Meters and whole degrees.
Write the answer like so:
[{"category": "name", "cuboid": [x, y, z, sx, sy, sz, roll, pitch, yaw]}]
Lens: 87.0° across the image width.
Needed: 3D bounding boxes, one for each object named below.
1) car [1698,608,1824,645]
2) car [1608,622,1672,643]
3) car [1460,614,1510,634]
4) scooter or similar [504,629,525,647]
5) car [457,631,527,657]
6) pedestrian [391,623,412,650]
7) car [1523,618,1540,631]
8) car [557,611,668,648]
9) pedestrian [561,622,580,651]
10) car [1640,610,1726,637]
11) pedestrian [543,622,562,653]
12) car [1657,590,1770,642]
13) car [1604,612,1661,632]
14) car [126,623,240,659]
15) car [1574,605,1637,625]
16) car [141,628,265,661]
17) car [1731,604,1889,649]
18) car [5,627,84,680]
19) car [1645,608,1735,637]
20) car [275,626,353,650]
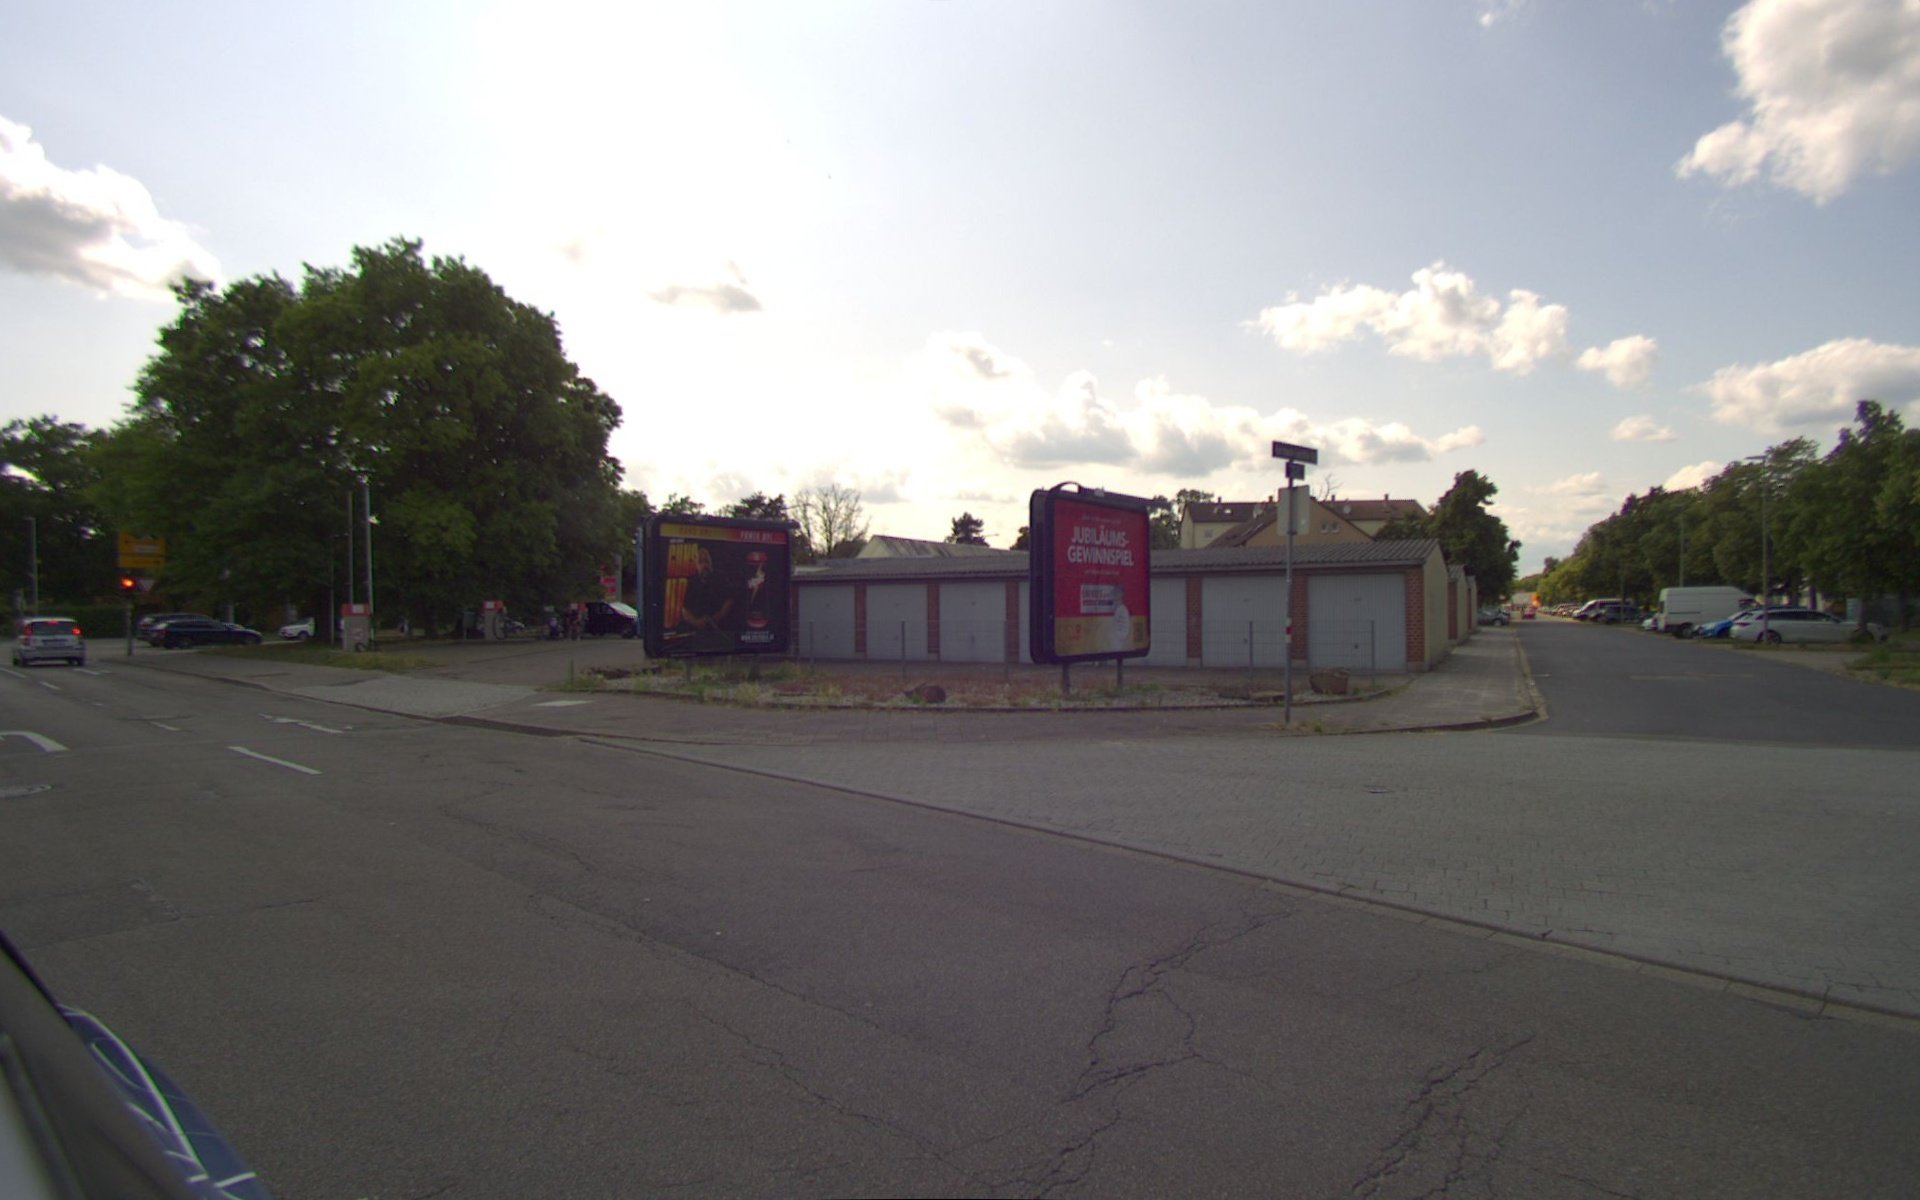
[{"category": "car", "cuboid": [36.024, 1.211, 45.688, 4.248, 1.493, 1.633, -4, -2, 34]}, {"category": "car", "cuboid": [55.701, 2.668, 82.919, 4.248, 1.493, 1.633, -4, -2, 34]}, {"category": "car", "cuboid": [42.940, 1.979, 82.812, 3.614, 1.576, 1.471, -1, -1, 29]}, {"category": "scooter or similar", "cuboid": [-26.251, 2.231, 59.631, 0.220, 0.987, 1.260, -2, -1, 29]}, {"category": "car", "cuboid": [-32.626, 3.031, 70.727, 1.697, 1.631, 4.317, 0, 0, 29]}, {"category": "pedestrian", "cuboid": [-31.972, 2.076, 57.892, 0.720, 1.543, 0.756, -1, -1, 13]}, {"category": "car", "cuboid": [77.664, 3.278, 137.636, 1.675, 1.670, 4.104, 1, 0, 25]}, {"category": "car", "cuboid": [-16.095, 1.353, 46.856, 4.528, 1.608, 2.140, -1, -1, 19]}, {"category": "pedestrian", "cuboid": [-16.366, 1.528, 42.495, 0.634, 1.199, 0.768, 1, 0, -15]}, {"category": "car", "cuboid": [45.196, 1.456, 63.396, 4.248, 1.493, 1.633, -4, -2, 34]}, {"category": "pedestrian", "cuboid": [-16.730, 1.532, 41.560, 0.634, 1.265, 0.768, 1, 0, -15]}, {"category": "car", "cuboid": [37.830, 0.838, 50.972, 4.240, 2.547, 1.836, -1, -1, 28]}, {"category": "car", "cuboid": [58.399, 1.955, 87.949, 4.014, 1.690, 1.580, -1, -1, 29]}, {"category": "car", "cuboid": [-41.648, 2.172, 54.370, 1.811, 1.759, 4.505, 0, -1, 29]}, {"category": "car", "cuboid": [72.697, 1.664, 114.054, 5.844, 2.183, 1.722, -1, -1, 29]}, {"category": "car", "cuboid": [-39.091, 2.244, 52.386, 1.794, 1.508, 4.825, 1, 0, 29]}, {"category": "car", "cuboid": [31.479, 1.007, 37.645, 4.247, 1.493, 1.633, -4, -2, 33]}, {"category": "car", "cuboid": [-29.240, 1.664, 32.304, 3.608, 1.528, 1.537, -1, 0, 42]}, {"category": "car", "cuboid": [43.448, 1.342, 60.352, 4.248, 1.493, 1.633, -4, -2, 34]}, {"category": "car", "cuboid": [-46.227, 2.703, 72.528, 1.721, 1.473, 4.491, -1, 0, 29]}]
